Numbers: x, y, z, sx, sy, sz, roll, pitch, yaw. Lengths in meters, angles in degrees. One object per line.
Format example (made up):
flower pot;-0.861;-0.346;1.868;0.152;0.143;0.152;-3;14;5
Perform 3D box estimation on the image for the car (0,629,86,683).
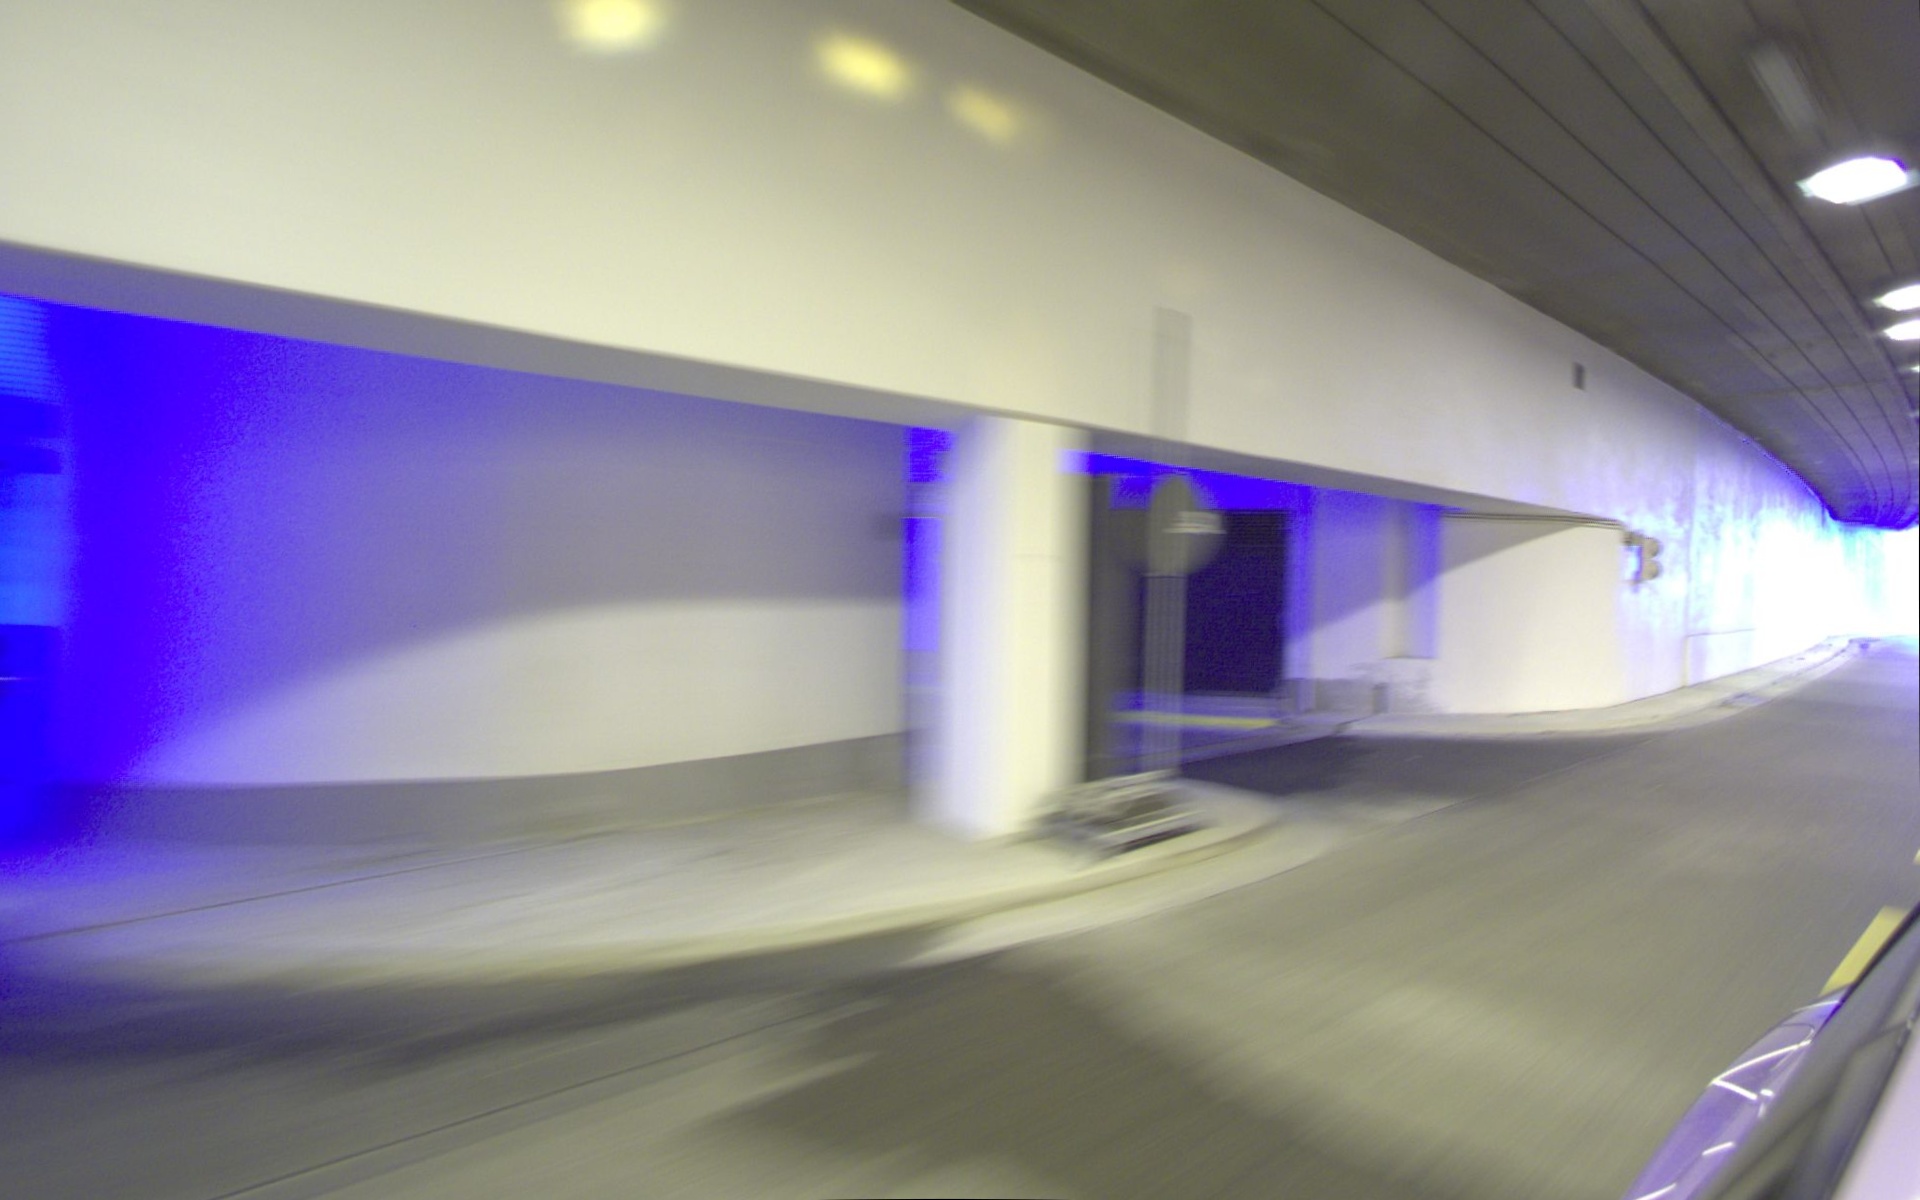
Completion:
car;-30.058;1.778;32.848;1.961;1.498;3.844;-1;1;-32
